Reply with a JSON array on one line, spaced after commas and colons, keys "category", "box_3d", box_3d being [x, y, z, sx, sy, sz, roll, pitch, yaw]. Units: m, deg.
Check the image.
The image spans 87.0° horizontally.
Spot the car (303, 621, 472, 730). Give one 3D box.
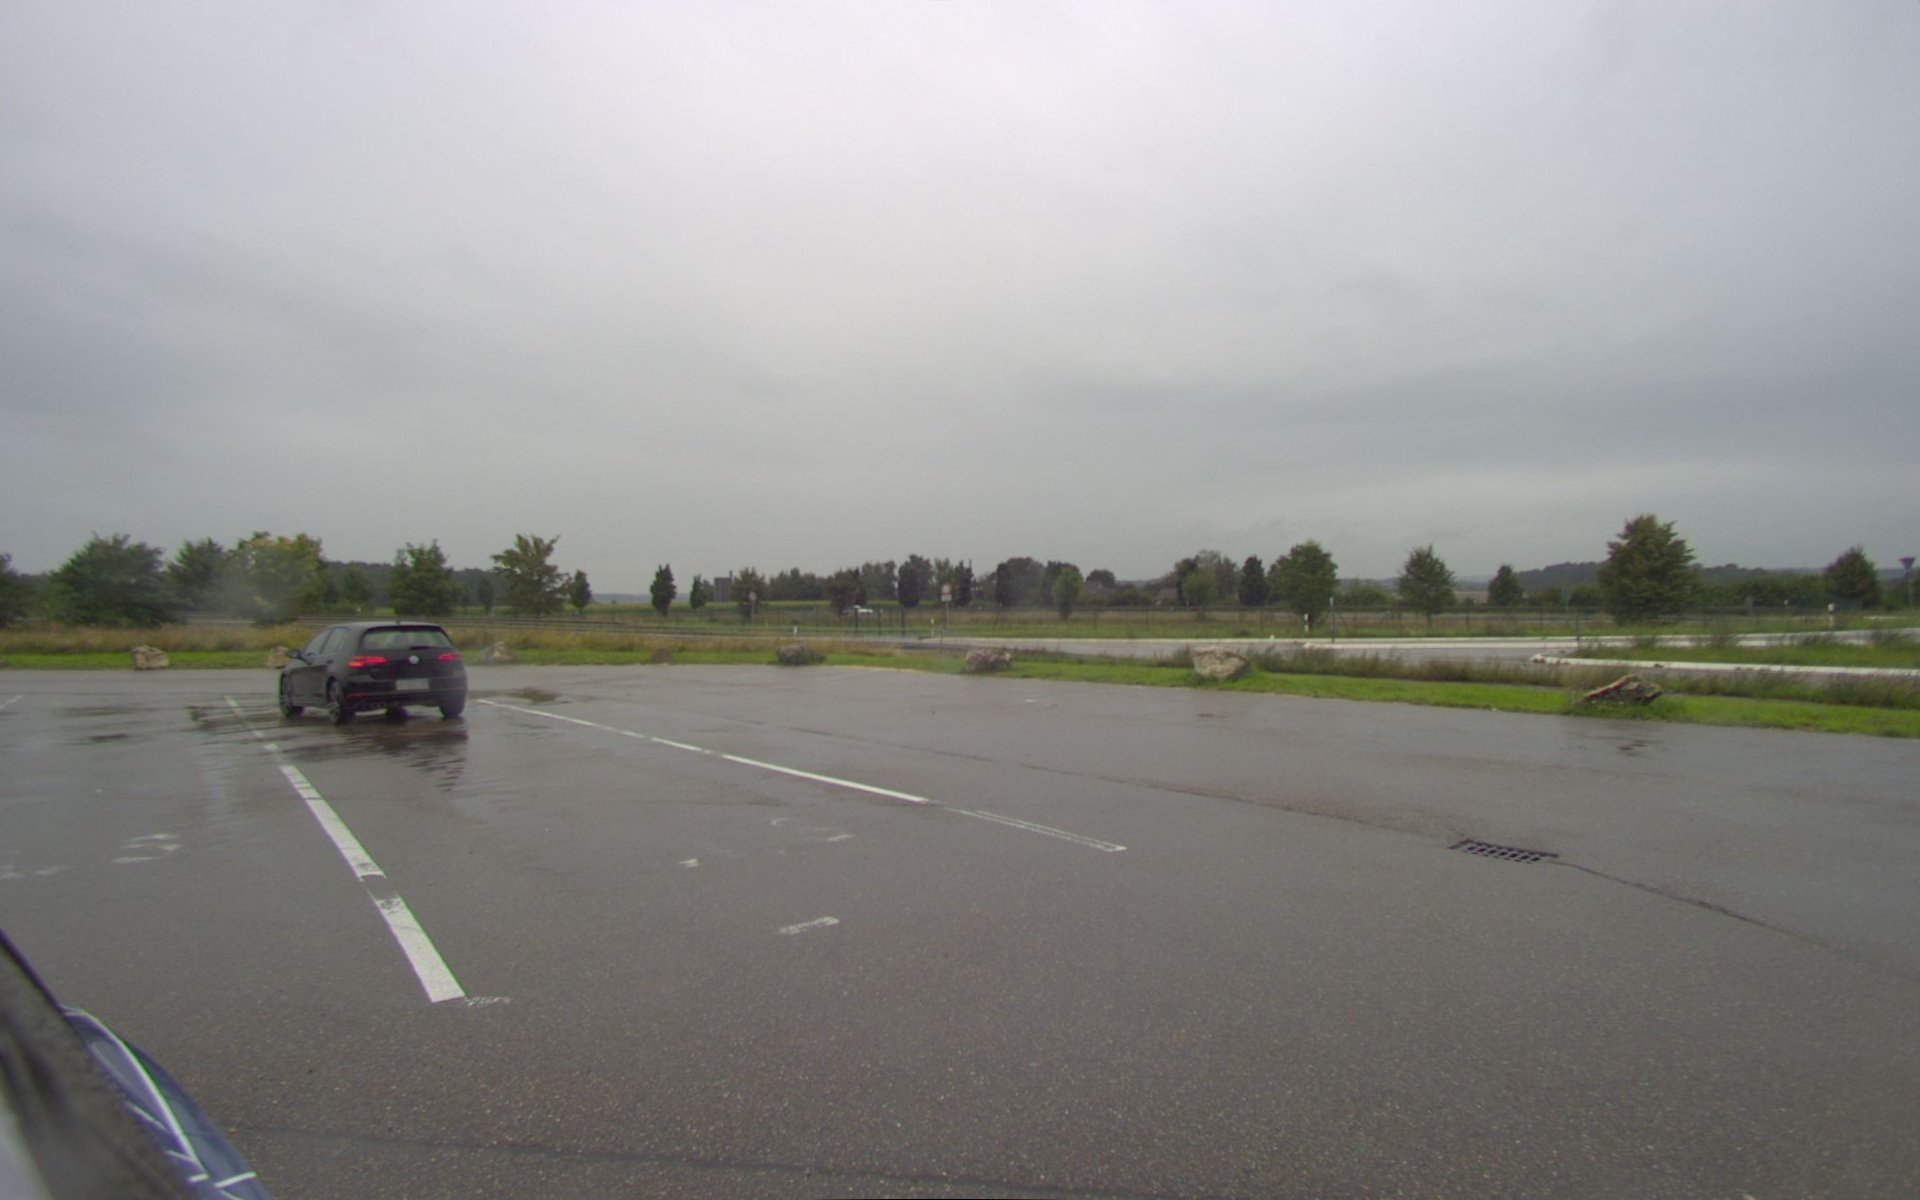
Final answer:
[{"category": "car", "box_3d": [-9.054, 1.074, 15.835, 1.751, 1.444, 4.087, 0, -1, -37]}]
